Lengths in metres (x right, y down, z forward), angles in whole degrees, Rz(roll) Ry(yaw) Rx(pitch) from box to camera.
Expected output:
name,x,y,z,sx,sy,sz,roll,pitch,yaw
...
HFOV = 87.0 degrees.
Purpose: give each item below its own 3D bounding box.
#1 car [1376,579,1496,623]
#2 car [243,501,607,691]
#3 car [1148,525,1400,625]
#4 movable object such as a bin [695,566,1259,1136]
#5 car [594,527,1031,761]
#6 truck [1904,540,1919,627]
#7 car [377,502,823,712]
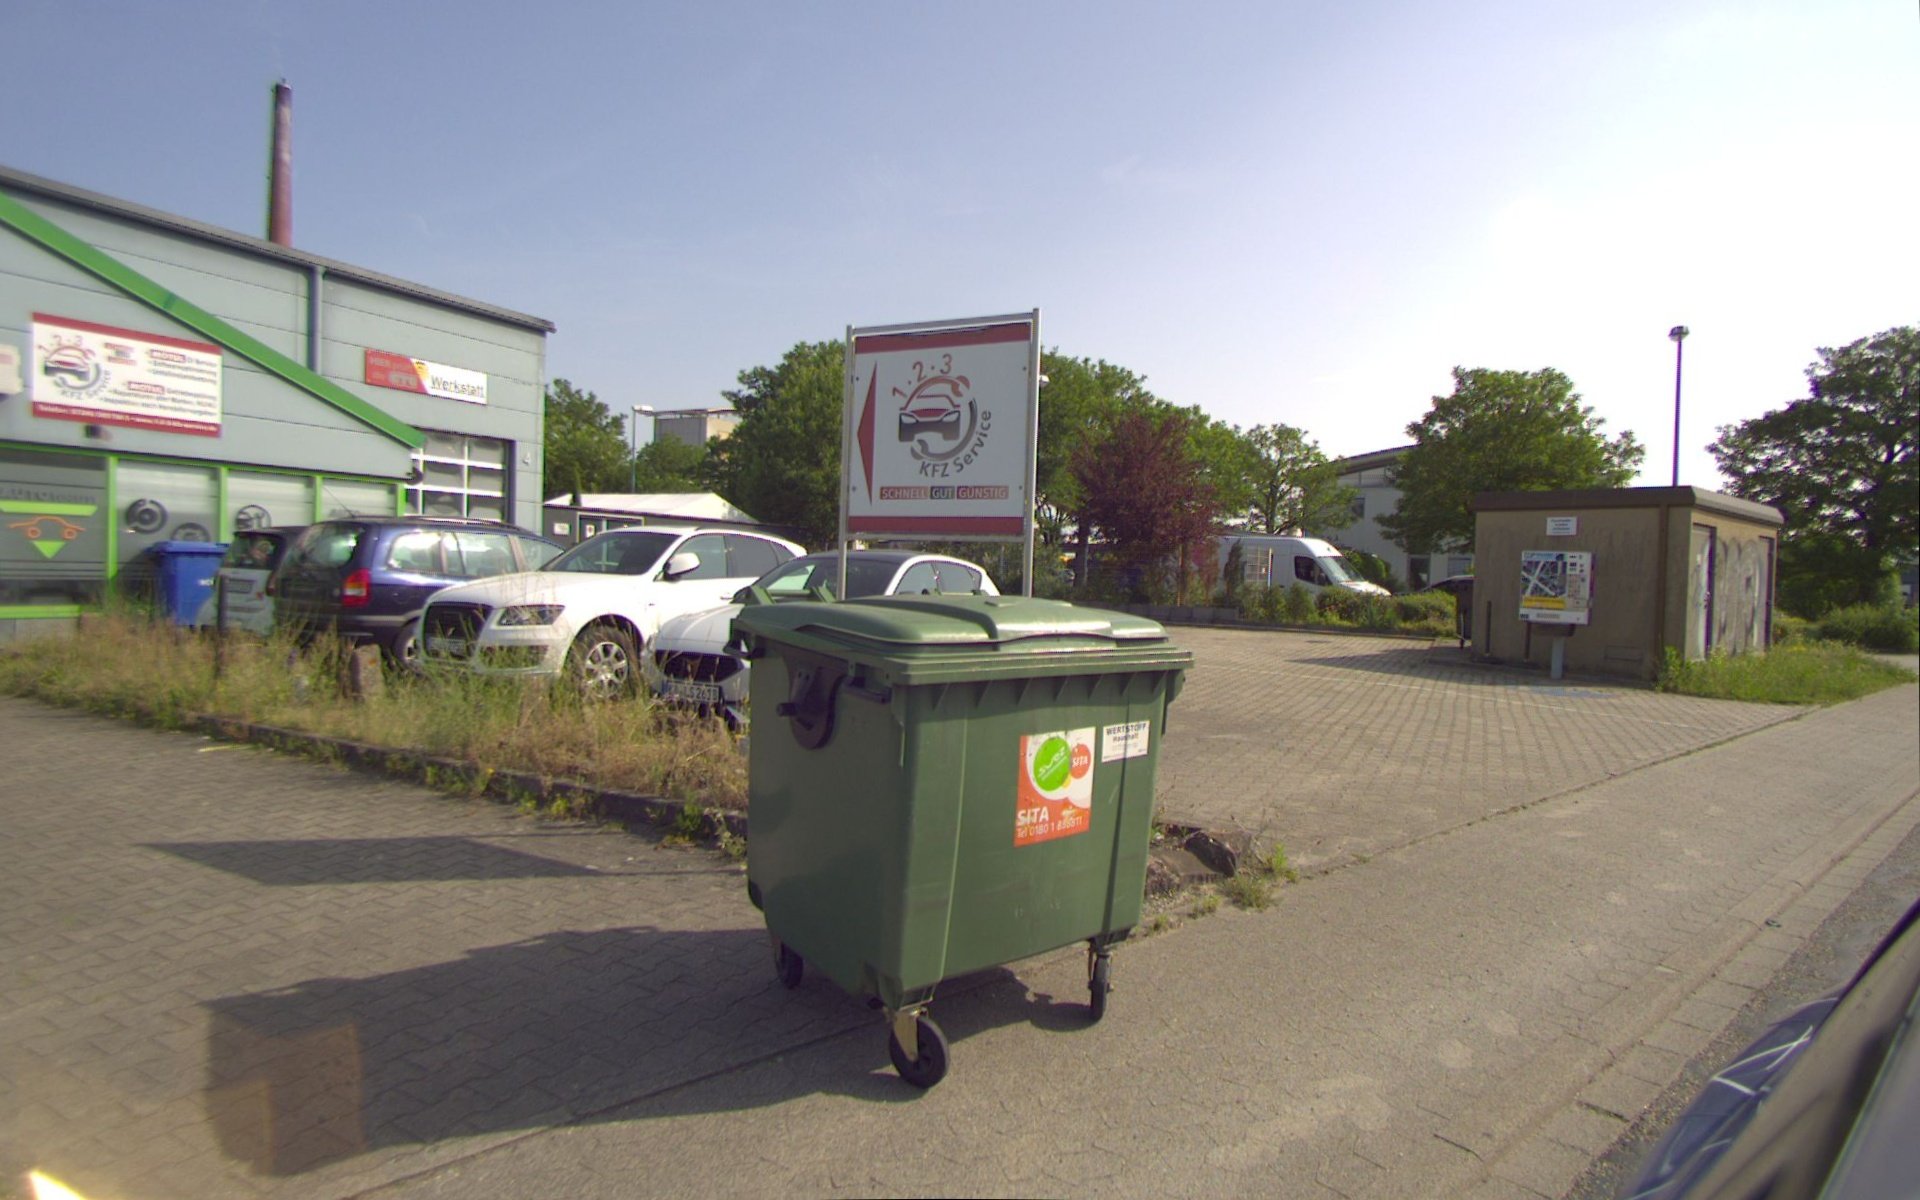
name,x,y,z,sx,sy,sz,roll,pitch,yaw
car,18.244,-0.008,38.852,4.008,1.482,1.781,3,2,30
car,-5.663,-0.098,11.064,1.627,1.741,3.186,2,2,26
car,8.879,-0.698,29.281,2.244,2.571,6.728,0,1,-44
movable object such as a bin,0.051,0.620,3.389,1.478,1.369,1.084,0,4,-37
car,-0.948,0.220,8.762,1.676,1.484,4.225,2,2,25
truck,48.229,-0.709,48.982,8.430,4.029,2.559,0,4,-41
car,-3.194,-0.015,9.881,1.703,1.591,4.097,2,2,25
